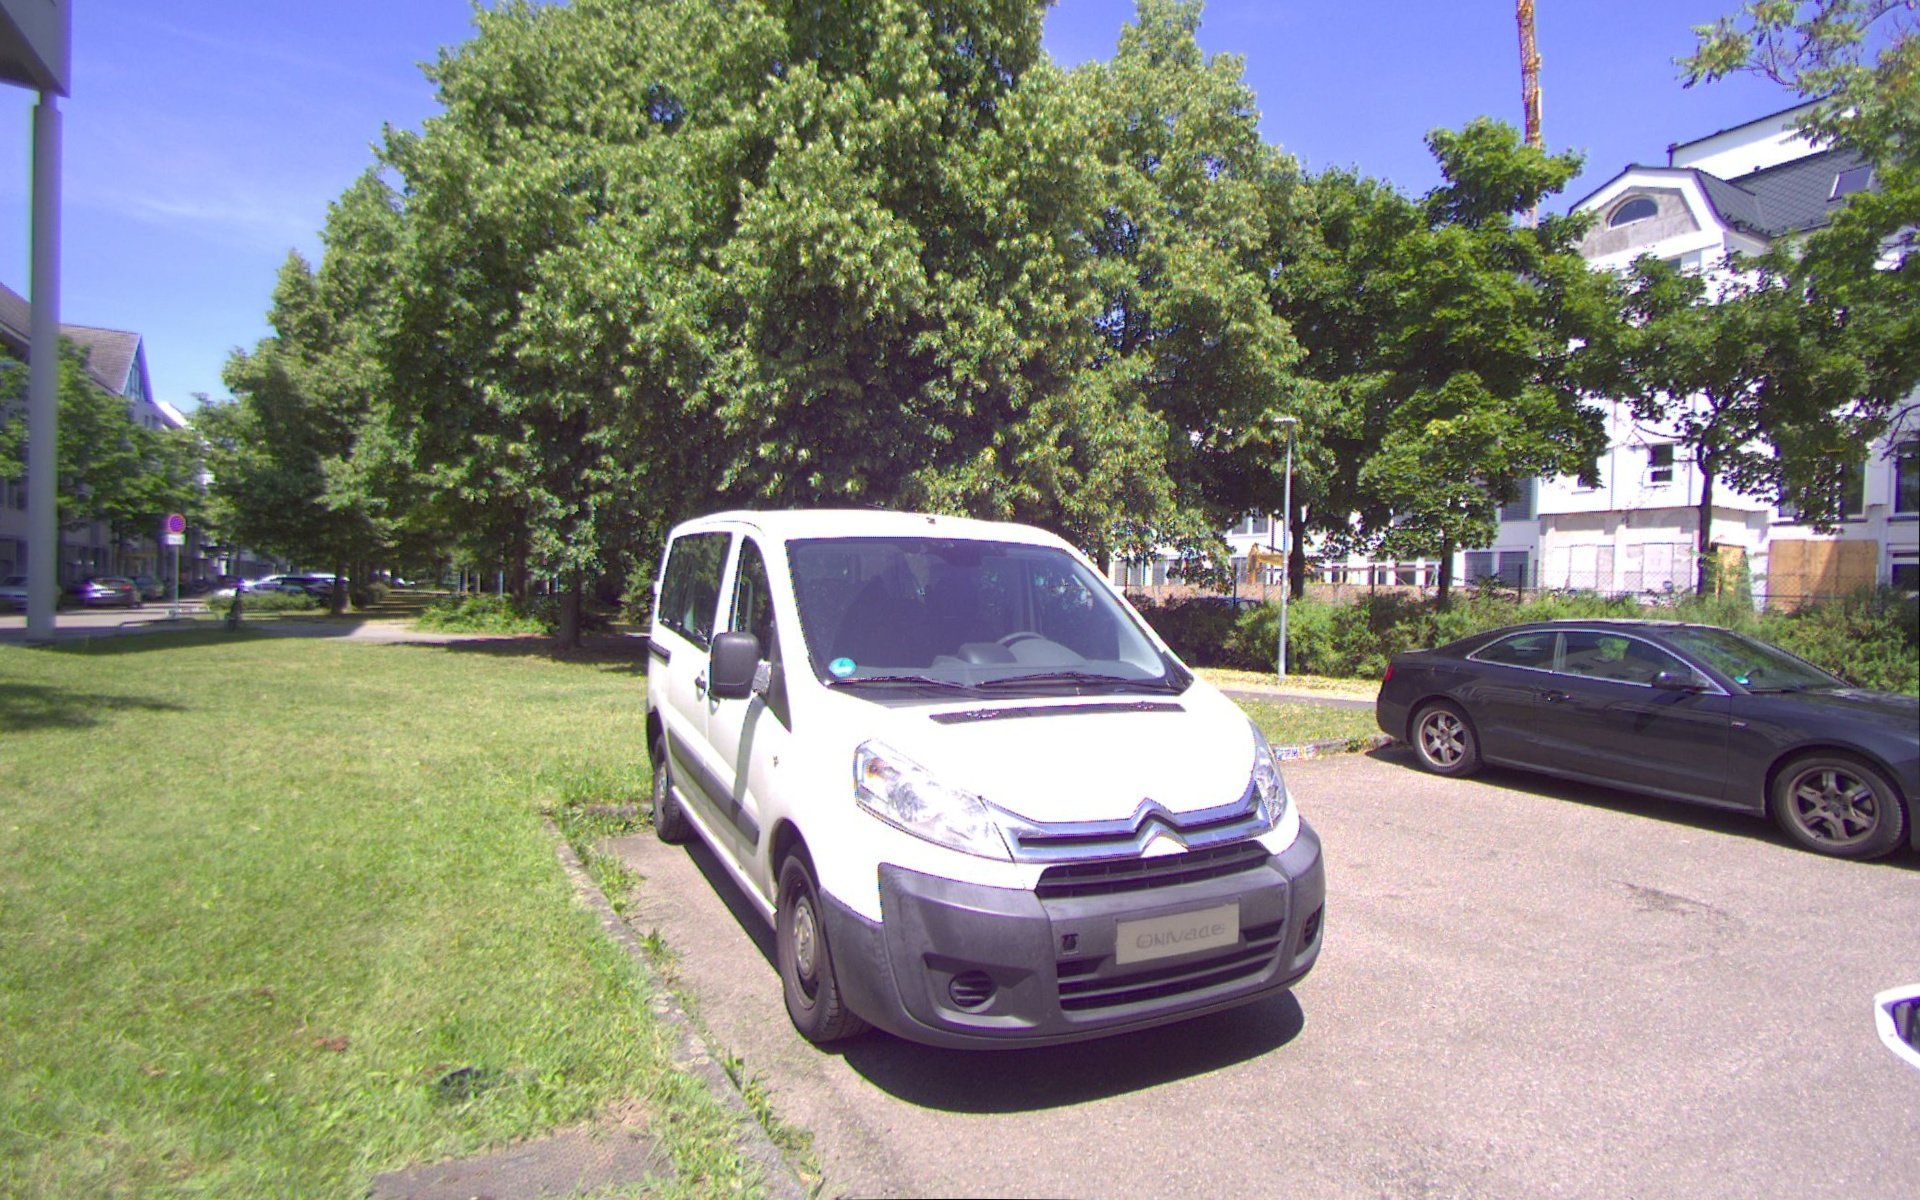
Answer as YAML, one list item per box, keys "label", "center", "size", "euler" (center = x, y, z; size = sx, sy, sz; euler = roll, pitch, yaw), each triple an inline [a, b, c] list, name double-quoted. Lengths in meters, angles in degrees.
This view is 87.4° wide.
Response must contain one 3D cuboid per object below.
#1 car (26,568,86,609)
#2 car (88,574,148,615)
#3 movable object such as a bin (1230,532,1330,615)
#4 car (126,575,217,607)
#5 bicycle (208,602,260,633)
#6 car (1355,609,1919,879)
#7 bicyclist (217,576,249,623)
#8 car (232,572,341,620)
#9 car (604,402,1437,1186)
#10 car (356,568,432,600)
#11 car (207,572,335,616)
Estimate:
- label: "car"
  center: [-39.011, -0.516, 43.321]
  size: [1.796, 1.624, 3.844]
  euler: [2, 0, -43]
- label: "car"
  center: [-36.790, -0.258, 43.856]
  size: [1.796, 1.624, 3.844]
  euler: [2, 0, -43]
- label: "movable object such as a bin"
  center: [18.110, -1.460, 57.197]
  size: [1.973, 4.430, 5.688]
  euler: [2, 0, -25]
- label: "car"
  center: [-45.177, -0.532, 57.649]
  size: [3.850, 1.652, 1.522]
  euler: [2, 0, -31]
- label: "bicycle"
  center: [-16.998, 0.400, 23.552]
  size: [0.725, 0.650, 1.605]
  euler: [-1, 2, -27]
- label: "car"
  center: [5.490, 0.859, 7.653]
  size: [1.997, 1.398, 4.414]
  euler: [2, 0, -26]
- label: "bicyclist"
  center: [-16.893, -0.020, 23.345]
  size: [0.511, 1.059, 0.519]
  euler: [-1, 1, -27]
- label: "car"
  center: [-30.813, -0.173, 46.090]
  size: [3.955, 2.040, 1.983]
  euler: [2, 0, -31]
- label: "car"
  center: [-0.405, 0.468, 5.077]
  size: [2.040, 1.908, 4.831]
  euler: [2, 0, -26]
- label: "car"
  center: [-34.653, -0.972, 61.575]
  size: [3.955, 1.791, 1.815]
  euler: [2, 0, -31]
- label: "car"
  center: [-29.180, -0.252, 42.703]
  size: [4.292, 1.631, 1.917]
  euler: [2, 0, -31]
